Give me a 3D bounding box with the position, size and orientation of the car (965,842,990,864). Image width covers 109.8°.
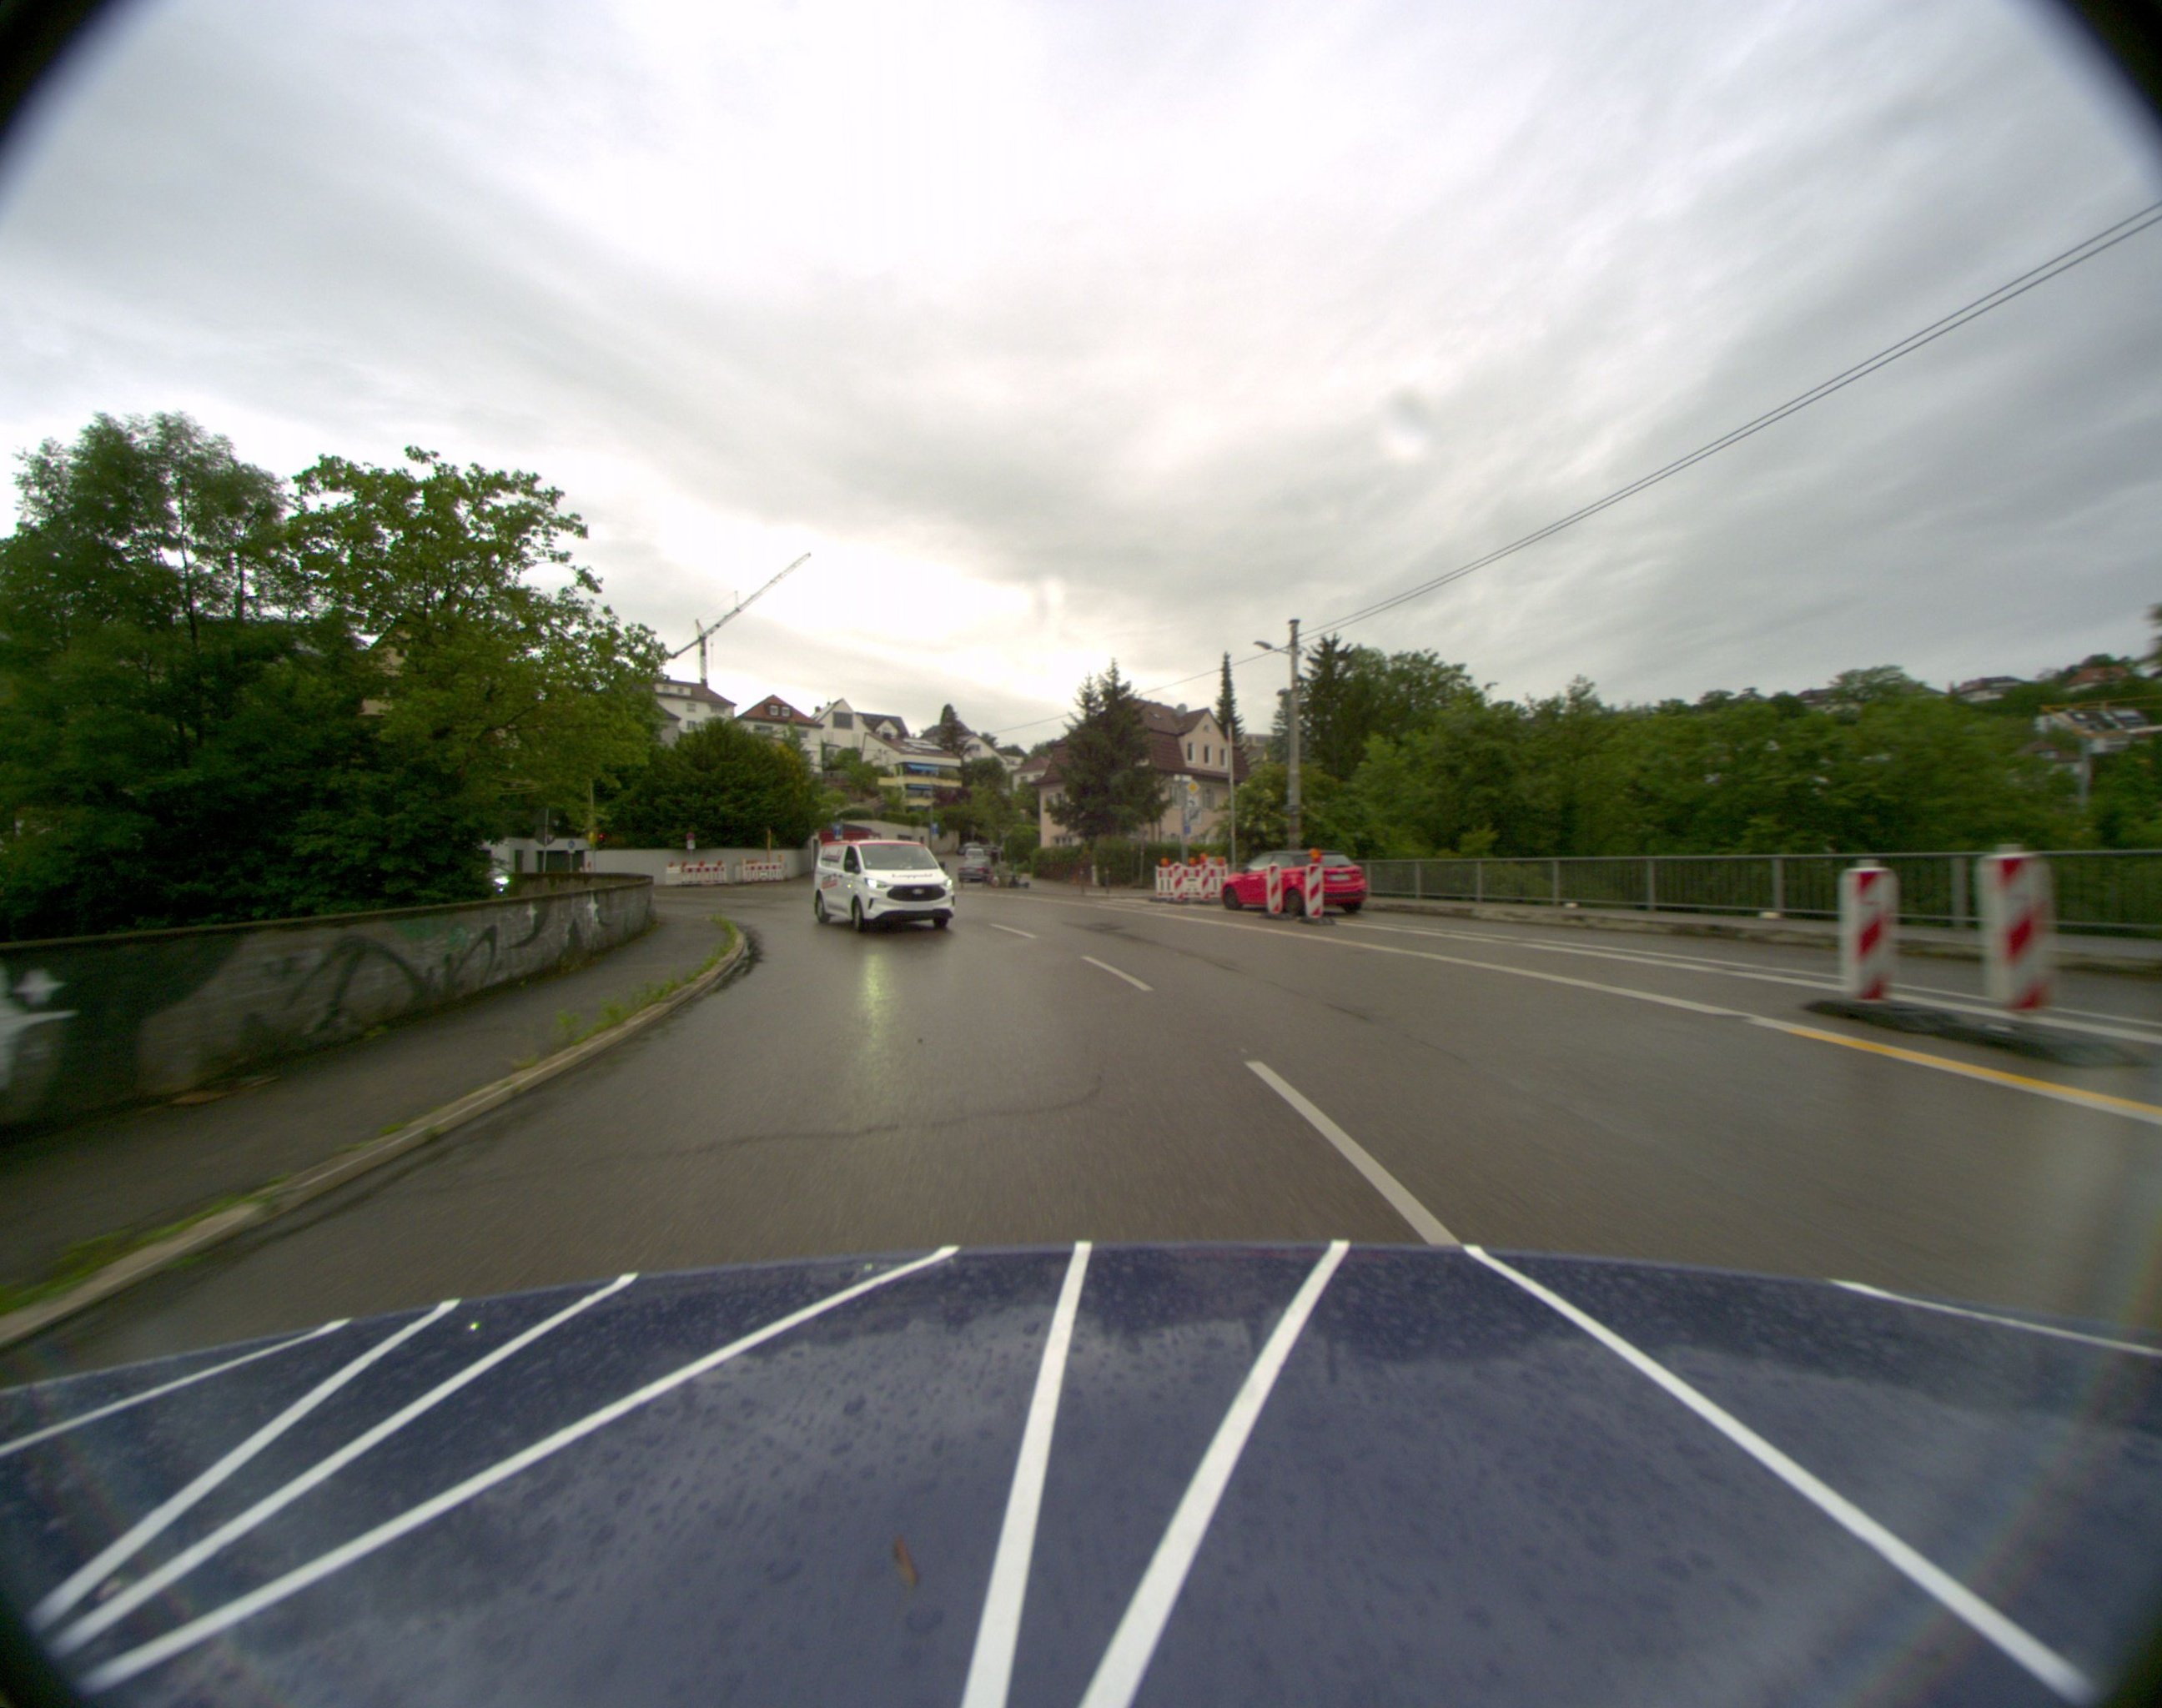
[{"bbox_3d":[-8.617,-0.117,63.526,1.874,1.653,3.996,0,3,-5],"label":"car"}]

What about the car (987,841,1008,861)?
[{"bbox_3d":[-7.945,-0.300,72.288,2.000,1.696,3.996,1,3,-6],"label":"car"}]

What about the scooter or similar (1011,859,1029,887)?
[{"bbox_3d":[-2.769,0.854,34.381,0.243,1.211,1.039,0,1,31],"label":"scooter or similar"}]

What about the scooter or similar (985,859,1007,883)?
[{"bbox_3d":[-4.101,0.814,36.698,1.039,1.157,0.243,-1,1,-31],"label":"scooter or similar"}]

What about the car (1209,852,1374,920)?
[{"bbox_3d":[4.887,0.677,18.256,1.692,1.390,4.128,-1,1,-21],"label":"car"}]

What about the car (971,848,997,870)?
[{"bbox_3d":[-6.658,0.336,51.947,1.675,1.394,4.200,-1,1,-9],"label":"car"}]

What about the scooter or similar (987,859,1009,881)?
[{"bbox_3d":[-4.088,0.801,37.542,1.038,1.063,0.243,-1,1,-30],"label":"scooter or similar"}]

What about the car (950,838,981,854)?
[{"bbox_3d":[-12.976,-0.874,85.557,1.879,1.485,4.003,-4,2,16],"label":"car"}]

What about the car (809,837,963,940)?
[{"bbox_3d":[-4.622,0.667,17.440,2.003,2.002,4.936,0,0,-32],"label":"car"}]

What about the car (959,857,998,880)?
[{"bbox_3d":[-6.140,0.863,45.985,1.674,1.259,4.204,0,1,1],"label":"car"}]

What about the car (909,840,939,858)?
[{"bbox_3d":[-15.053,-0.461,72.965,1.873,1.652,4.001,0,-1,2],"label":"car"}]
